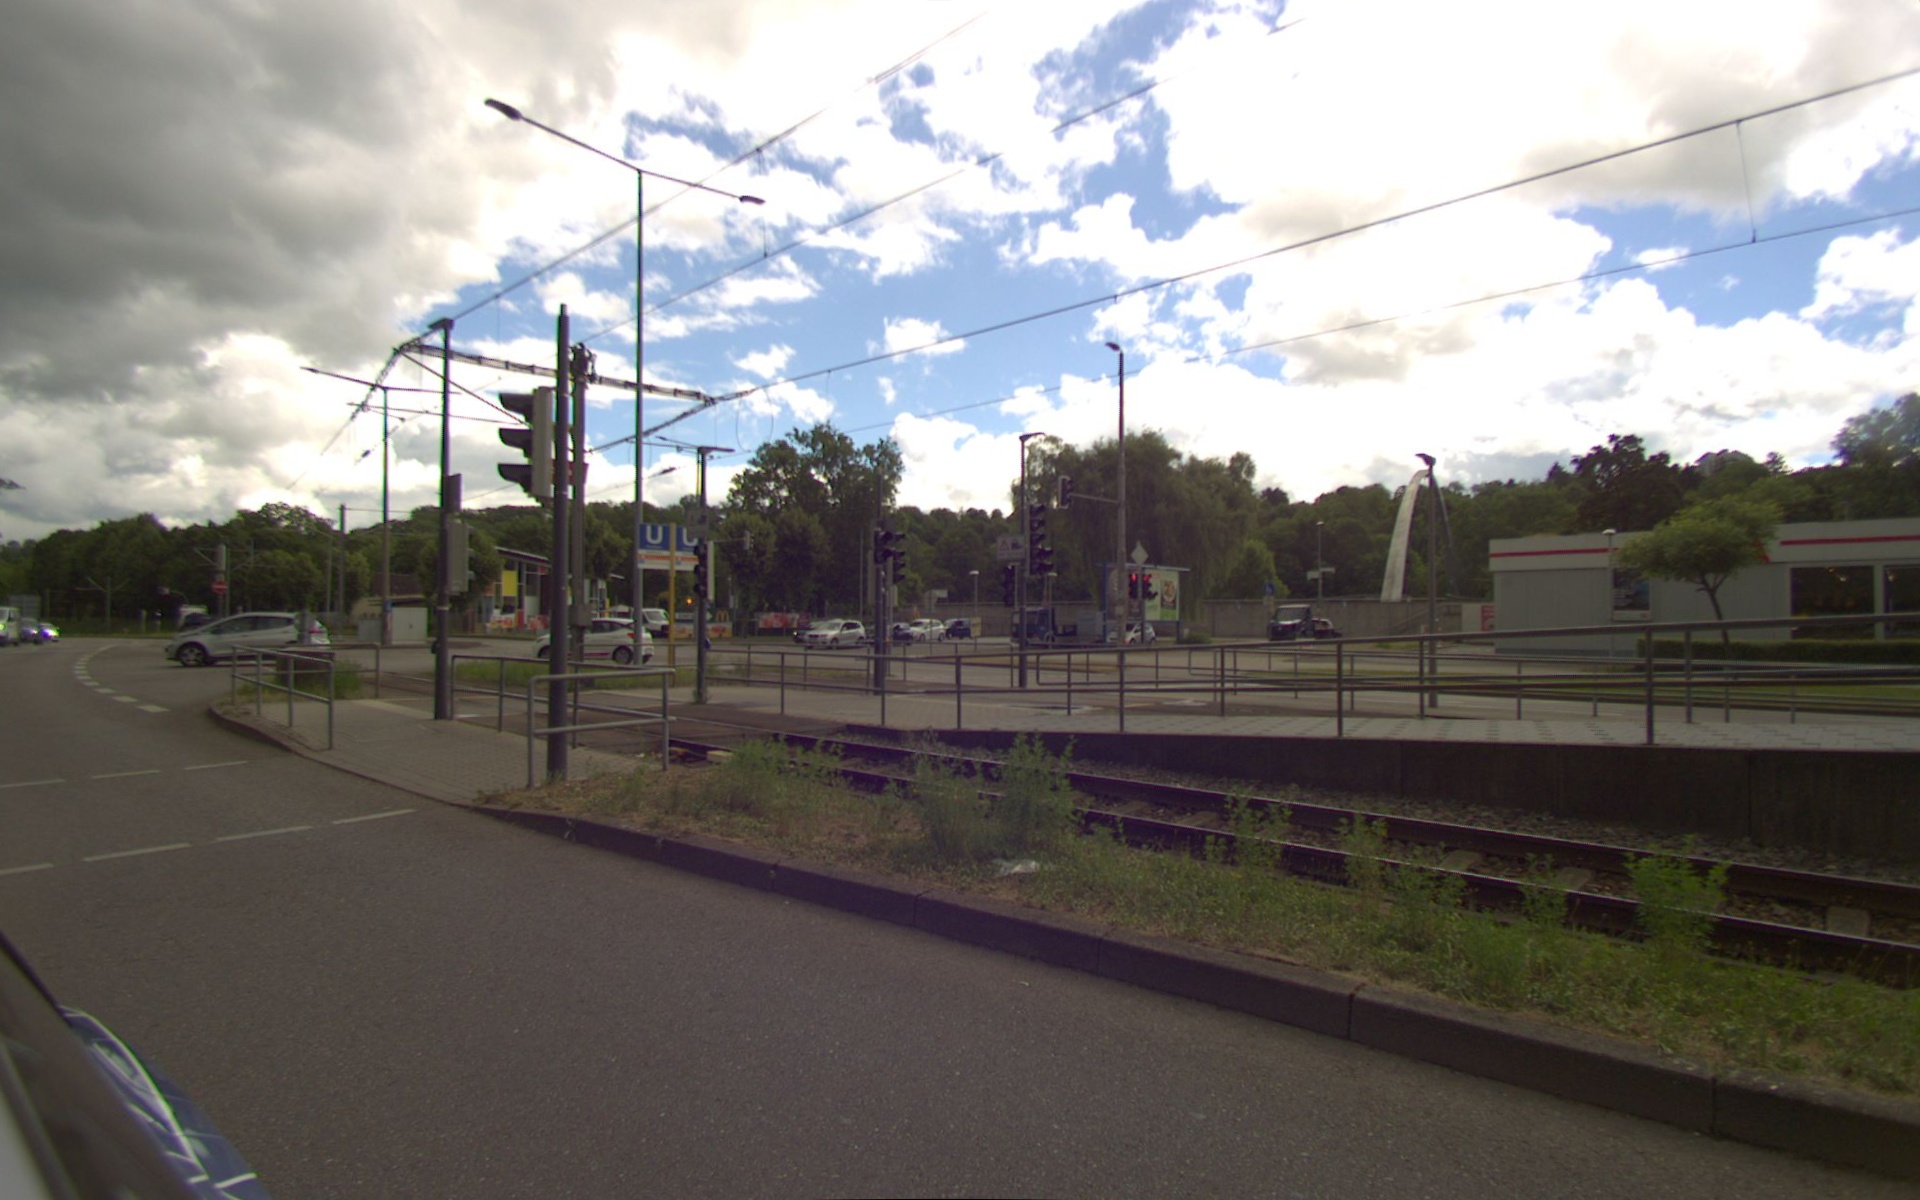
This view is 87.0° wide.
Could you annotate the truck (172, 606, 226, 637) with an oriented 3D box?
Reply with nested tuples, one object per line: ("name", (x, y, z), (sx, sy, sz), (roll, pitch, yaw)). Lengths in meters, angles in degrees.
("truck", (-92.380, 2.619, 122.751), (8.695, 3.587, 3.391), (-1, -3, 41))

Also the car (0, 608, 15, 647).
("car", (-46.422, 1.306, 48.139), (1.781, 1.839, 4.008), (1, -2, -38))

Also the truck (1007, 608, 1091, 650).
("truck", (5.651, 1.832, 63.826), (2.385, 2.513, 5.745), (-1, -2, 41))

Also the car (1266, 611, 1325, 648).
("car", (19.446, 1.730, 58.596), (1.845, 2.067, 4.324), (-1, -3, 39))

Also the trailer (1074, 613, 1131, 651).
("trailer", (8.991, 2.037, 63.616), (1.559, 2.275, 4.333), (-1, -3, 39))

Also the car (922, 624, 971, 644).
("car", (-1.056, 2.699, 81.182), (3.580, 1.566, 1.732), (1, -2, -33))

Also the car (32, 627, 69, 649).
("car", (-68.803, 2.867, 76.605), (1.803, 1.564, 4.007), (3, -3, -39))

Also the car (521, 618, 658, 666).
("car", (-11.773, 1.316, 32.265), (3.780, 1.465, 1.630), (0, -1, 5))

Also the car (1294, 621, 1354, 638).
("car", (26.569, 2.134, 73.898), (3.873, 1.130, 1.558), (0, -3, 30))

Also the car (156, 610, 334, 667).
("car", (-21.551, 1.158, 30.706), (4.053, 1.653, 1.756), (1, -2, -18))

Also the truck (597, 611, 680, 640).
("truck", (-22.381, 1.787, 70.369), (6.193, 1.920, 2.566), (-1, -3, 40))

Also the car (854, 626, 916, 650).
("car", (-4.703, 2.347, 63.659), (1.790, 1.443, 4.238), (-1, -2, 31))

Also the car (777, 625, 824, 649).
("car", (-9.772, 2.255, 62.317), (1.776, 1.443, 3.630), (0, -1, 10))

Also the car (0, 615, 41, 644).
("car", (-53.416, 1.638, 57.076), (1.967, 1.547, 4.008), (3, -3, -38))

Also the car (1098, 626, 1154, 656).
("car", (10.066, 2.440, 61.155), (1.753, 1.756, 3.807), (-1, -2, 38))

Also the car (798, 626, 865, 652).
("car", (-7.409, 2.217, 58.767), (1.787, 1.443, 4.377), (-1, -1, 27))
